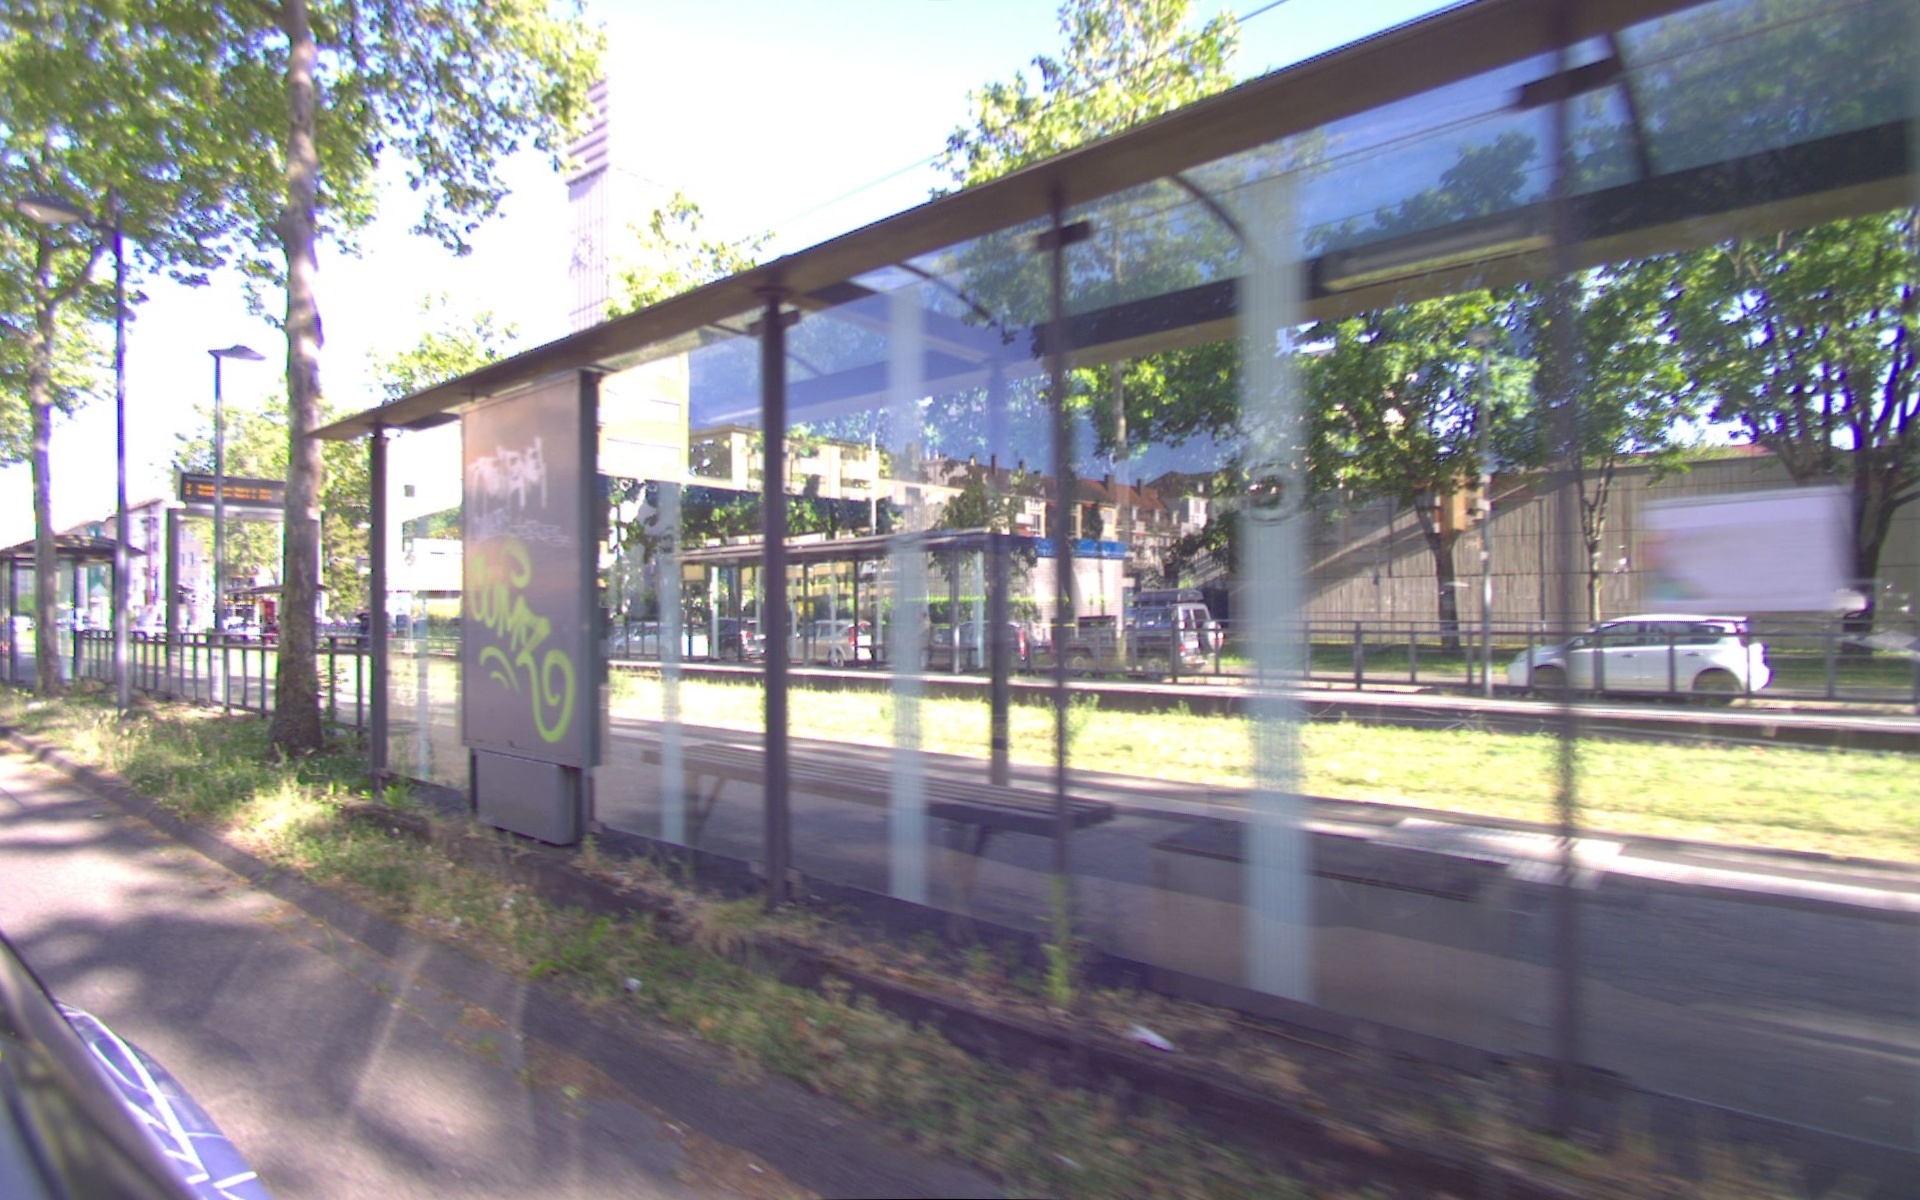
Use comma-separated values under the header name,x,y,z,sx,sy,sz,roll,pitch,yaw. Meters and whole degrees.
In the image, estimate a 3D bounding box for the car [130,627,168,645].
name,x,y,z,sx,sy,sz,roll,pitch,yaw
car,-61.282,2.709,76.487,3.409,1.335,1.313,-1,-1,35

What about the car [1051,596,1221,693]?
name,x,y,z,sx,sy,sz,roll,pitch,yaw
car,4.428,1.102,25.759,3.930,2.279,1.696,-2,-2,40

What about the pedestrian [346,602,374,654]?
name,x,y,z,sx,sy,sz,roll,pitch,yaw
pedestrian,-21.932,1.012,36.995,0.636,1.881,0.712,-2,-1,41

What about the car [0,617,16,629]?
name,x,y,z,sx,sy,sz,roll,pitch,yaw
car,-141.136,3.445,149.360,5.399,1.720,2.117,-1,-1,41

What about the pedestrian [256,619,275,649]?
name,x,y,z,sx,sy,sz,roll,pitch,yaw
pedestrian,-31.748,1.533,46.257,0.722,1.352,0.775,0,-1,-35

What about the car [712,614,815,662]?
name,x,y,z,sx,sy,sz,roll,pitch,yaw
car,-7.067,1.336,36.245,3.928,1.645,1.577,-2,-2,42

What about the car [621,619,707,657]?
name,x,y,z,sx,sy,sz,roll,pitch,yaw
car,-10.468,1.332,35.705,3.373,1.251,1.250,-2,-2,40

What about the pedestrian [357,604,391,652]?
name,x,y,z,sx,sy,sz,roll,pitch,yaw
pedestrian,-21.205,0.995,36.640,0.754,1.702,0.874,-2,-1,41

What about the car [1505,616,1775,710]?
name,x,y,z,sx,sy,sz,roll,pitch,yaw
car,12.559,1.102,18.849,3.934,1.557,1.695,-2,-2,43

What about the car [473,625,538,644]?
name,x,y,z,sx,sy,sz,roll,pitch,yaw
car,-37.718,2.844,84.052,1.999,1.497,4.468,-2,-1,40

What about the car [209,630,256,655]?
name,x,y,z,sx,sy,sz,roll,pitch,yaw
car,-36.835,2.139,51.217,2.964,1.213,1.311,-1,-1,41

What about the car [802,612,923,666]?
name,x,y,z,sx,sy,sz,roll,pitch,yaw
car,-3.181,1.239,32.611,3.927,1.648,1.577,-2,-2,40

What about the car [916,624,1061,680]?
name,x,y,z,sx,sy,sz,roll,pitch,yaw
car,0.756,1.444,28.846,4.017,1.500,1.578,-2,-2,40

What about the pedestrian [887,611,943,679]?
name,x,y,z,sx,sy,sz,roll,pitch,yaw
pedestrian,-0.875,0.848,19.511,0.825,1.270,0.802,-1,0,-21

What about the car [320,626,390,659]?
name,x,y,z,sx,sy,sz,roll,pitch,yaw
car,-27.437,1.915,45.880,3.533,1.438,1.589,-2,-1,39

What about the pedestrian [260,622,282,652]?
name,x,y,z,sx,sy,sz,roll,pitch,yaw
pedestrian,-31.086,1.651,45.643,0.734,1.352,0.686,-2,-1,42
